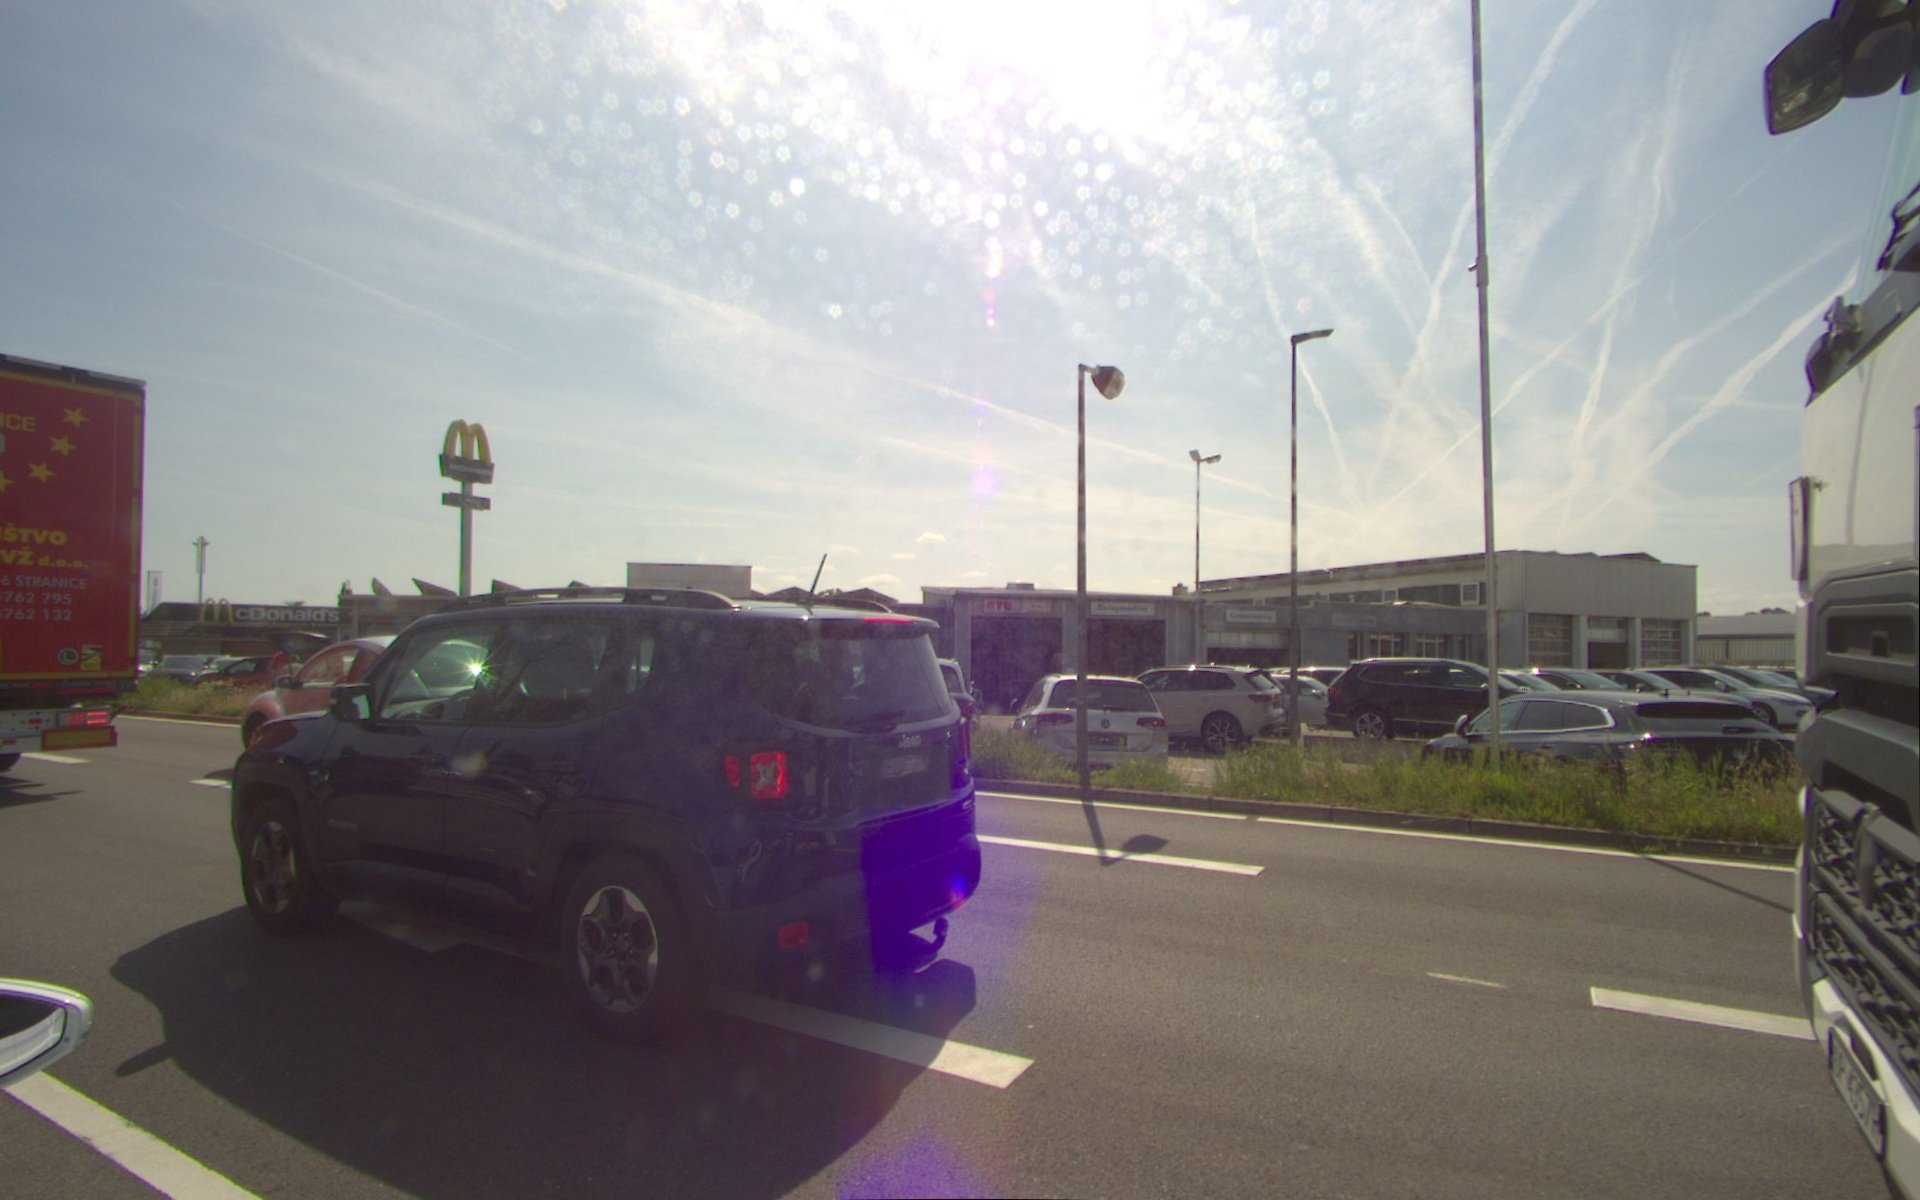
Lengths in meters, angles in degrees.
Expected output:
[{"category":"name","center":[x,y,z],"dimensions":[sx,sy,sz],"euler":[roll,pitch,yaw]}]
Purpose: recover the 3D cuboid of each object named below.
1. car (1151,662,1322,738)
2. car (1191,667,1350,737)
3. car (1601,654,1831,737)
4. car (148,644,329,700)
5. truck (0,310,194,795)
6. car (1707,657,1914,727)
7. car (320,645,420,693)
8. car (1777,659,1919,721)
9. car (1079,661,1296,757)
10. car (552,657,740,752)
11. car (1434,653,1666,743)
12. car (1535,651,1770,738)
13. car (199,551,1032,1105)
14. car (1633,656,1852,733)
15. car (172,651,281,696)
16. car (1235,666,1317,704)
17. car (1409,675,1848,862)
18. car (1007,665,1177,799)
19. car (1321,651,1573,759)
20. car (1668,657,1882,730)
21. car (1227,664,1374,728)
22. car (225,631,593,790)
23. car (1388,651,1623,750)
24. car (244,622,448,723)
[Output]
[{"category":"car","center":[6.583,2.319,23.905],"dimensions":[3.666,1.601,1.599],"euler":[-1,-3,31]},{"category":"car","center":[7.998,2.575,25.849],"dimensions":[3.666,1.601,1.599],"euler":[-1,-3,31]},{"category":"car","center":[18.642,2.279,24.854],"dimensions":[1.961,1.812,4.202],"euler":[3,-3,-37]},{"category":"car","center":[-21.278,2.102,29.656],"dimensions":[3.922,1.550,2.001],"euler":[1,-2,2]},{"category":"truck","center":[-15.567,-0.316,13.090],"dimensions":[16.340,4.323,2.954],"euler":[-1,-2,31]},{"category":"car","center":[24.478,2.587,28.972],"dimensions":[1.883,1.777,4.208],"euler":[2,-3,-32]},{"category":"car","center":[-20.413,2.360,34.813],"dimensions":[1.964,1.550,3.996],"euler":[1,-3,-15]},{"category":"car","center":[28.461,2.775,31.248],"dimensions":[1.882,1.777,4.209],"euler":[2,-3,-32]},{"category":"car","center":[4.854,2.249,21.529],"dimensions":[4.172,1.777,1.899],"euler":[-1,-3,32]},{"category":"car","center":[-5.358,1.748,17.630],"dimensions":[1.670,1.416,3.848],"euler":[0,-2,8]},{"category":"car","center":[13.461,2.162,23.062],"dimensions":[1.961,1.812,4.202],"euler":[3,-3,-37]},{"category":"car","center":[16.288,2.149,23.729],"dimensions":[1.961,1.812,4.202],"euler":[3,-3,-37]},{"category":"car","center":[-1.805,0.753,4.923],"dimensions":[3.943,1.706,1.816],"euler":[-1,-1,32]},{"category":"car","center":[20.549,2.422,26.472],"dimensions":[1.883,1.777,4.208],"euler":[2,-3,-32]},{"category":"car","center":[-27.074,2.681,37.118],"dimensions":[1.706,1.555,4.036],"euler":[1,-2,-12]},{"category":"car","center":[11.789,3.140,37.558],"dimensions":[1.575,1.269,3.722],"euler":[1,-3,-6]},{"category":"car","center":[6.601,1.579,10.598],"dimensions":[1.705,1.420,4.350],"euler":[1,-2,0]},{"category":"car","center":[1.598,1.635,13.408],"dimensions":[1.705,1.420,4.040],"euler":[1,-2,0]},{"category":"car","center":[9.407,1.938,19.434],"dimensions":[4.175,1.812,1.973],"euler":[-1,-3,34]},{"category":"car","center":[22.342,2.498,27.617],"dimensions":[1.883,1.777,4.208],"euler":[2,-3,-32]},{"category":"car","center":[9.484,2.630,27.936],"dimensions":[3.666,1.601,1.599],"euler":[-1,-3,31]},{"category":"car","center":[-6.099,1.086,11.033],"dimensions":[3.937,1.491,1.658],"euler":[-1,-2,28]},{"category":"car","center":[11.411,2.016,21.010],"dimensions":[4.175,1.812,1.973],"euler":[-1,-3,34]},{"category":"car","center":[-12.938,1.490,21.404],"dimensions":[1.669,1.945,3.848],"euler":[0,-2,6]}]
